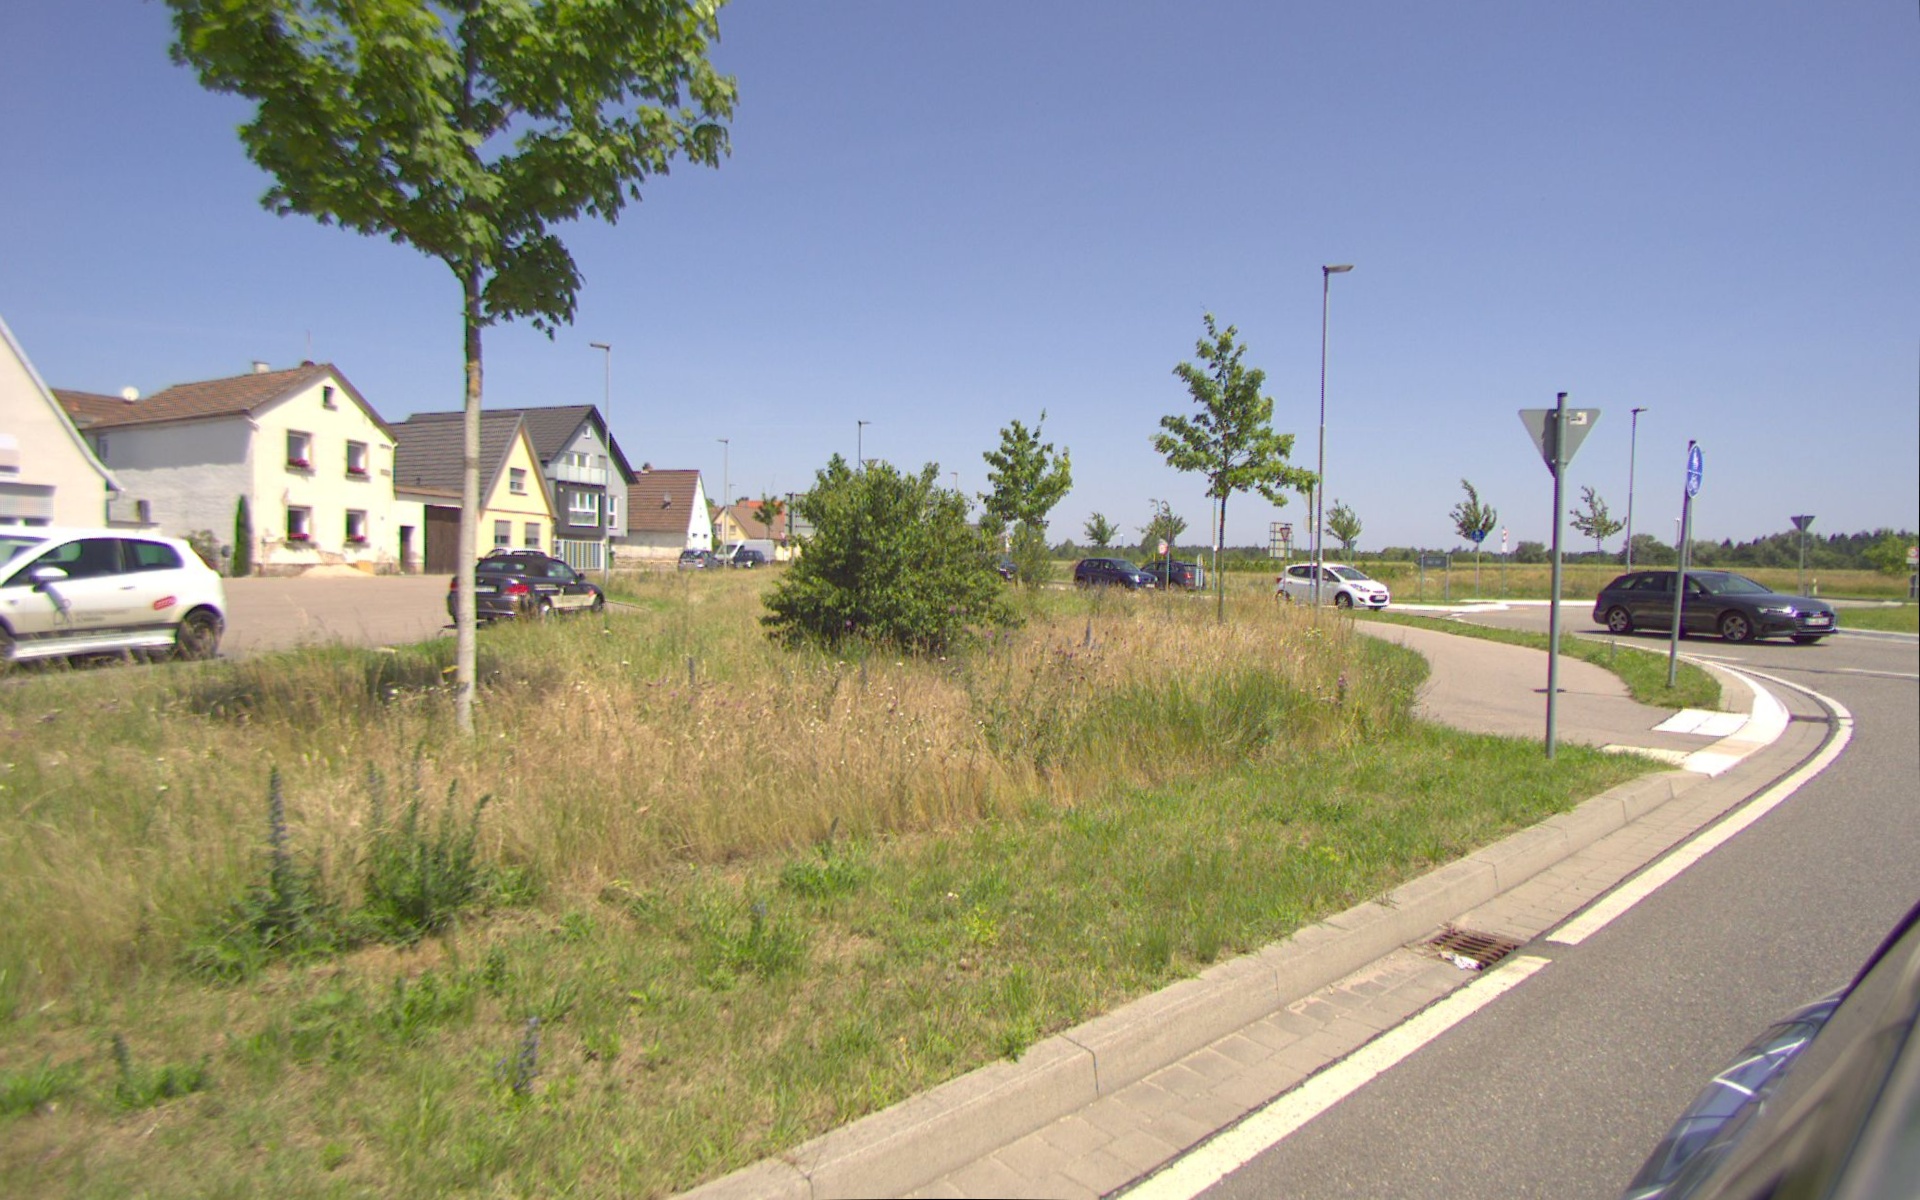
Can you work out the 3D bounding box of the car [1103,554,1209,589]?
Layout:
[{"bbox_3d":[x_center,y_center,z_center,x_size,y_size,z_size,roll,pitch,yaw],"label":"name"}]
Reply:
[{"bbox_3d":[9.649,-1.393,50.114,4.867,1.670,1.926,1,2,40],"label":"car"}]

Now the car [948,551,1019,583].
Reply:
[{"bbox_3d":[1.208,-1.795,54.176,1.831,1.580,4.735,-1,3,-26],"label":"car"}]

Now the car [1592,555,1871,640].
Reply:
[{"bbox_3d":[15.772,-0.152,21.065,1.831,1.451,4.531,-1,4,-10],"label":"car"}]

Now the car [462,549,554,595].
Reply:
[{"bbox_3d":[-14.974,-0.964,33.407,1.623,1.410,3.993,-1,3,-42],"label":"car"}]

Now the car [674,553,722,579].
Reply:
[{"bbox_3d":[-16.345,-2.143,63.329,1.820,1.514,3.999,1,2,2],"label":"car"}]

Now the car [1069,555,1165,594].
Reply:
[{"bbox_3d":[6.807,-1.135,44.140,1.690,1.580,4.151,-2,3,-37],"label":"car"}]

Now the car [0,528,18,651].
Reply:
[{"bbox_3d":[-12.429,-0.126,10.328,1.743,1.461,3.960,1,1,6],"label":"car"}]

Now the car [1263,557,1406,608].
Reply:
[{"bbox_3d":[12.847,-0.664,35.002,1.832,1.580,4.527,-1,3,-30],"label":"car"}]

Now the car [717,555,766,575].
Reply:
[{"bbox_3d":[-15.775,-2.512,73.271,1.831,1.367,3.745,2,2,19],"label":"car"}]

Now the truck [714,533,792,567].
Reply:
[{"bbox_3d":[-16.141,-3.874,78.976,5.524,2.537,2.240,0,2,-31],"label":"truck"}]

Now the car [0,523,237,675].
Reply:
[{"bbox_3d":[-9.902,-0.063,10.550,1.716,1.445,3.997,1,2,4],"label":"car"}]

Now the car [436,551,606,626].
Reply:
[{"bbox_3d":[-8.647,-0.293,20.307,1.714,1.327,4.002,1,2,-1],"label":"car"}]
